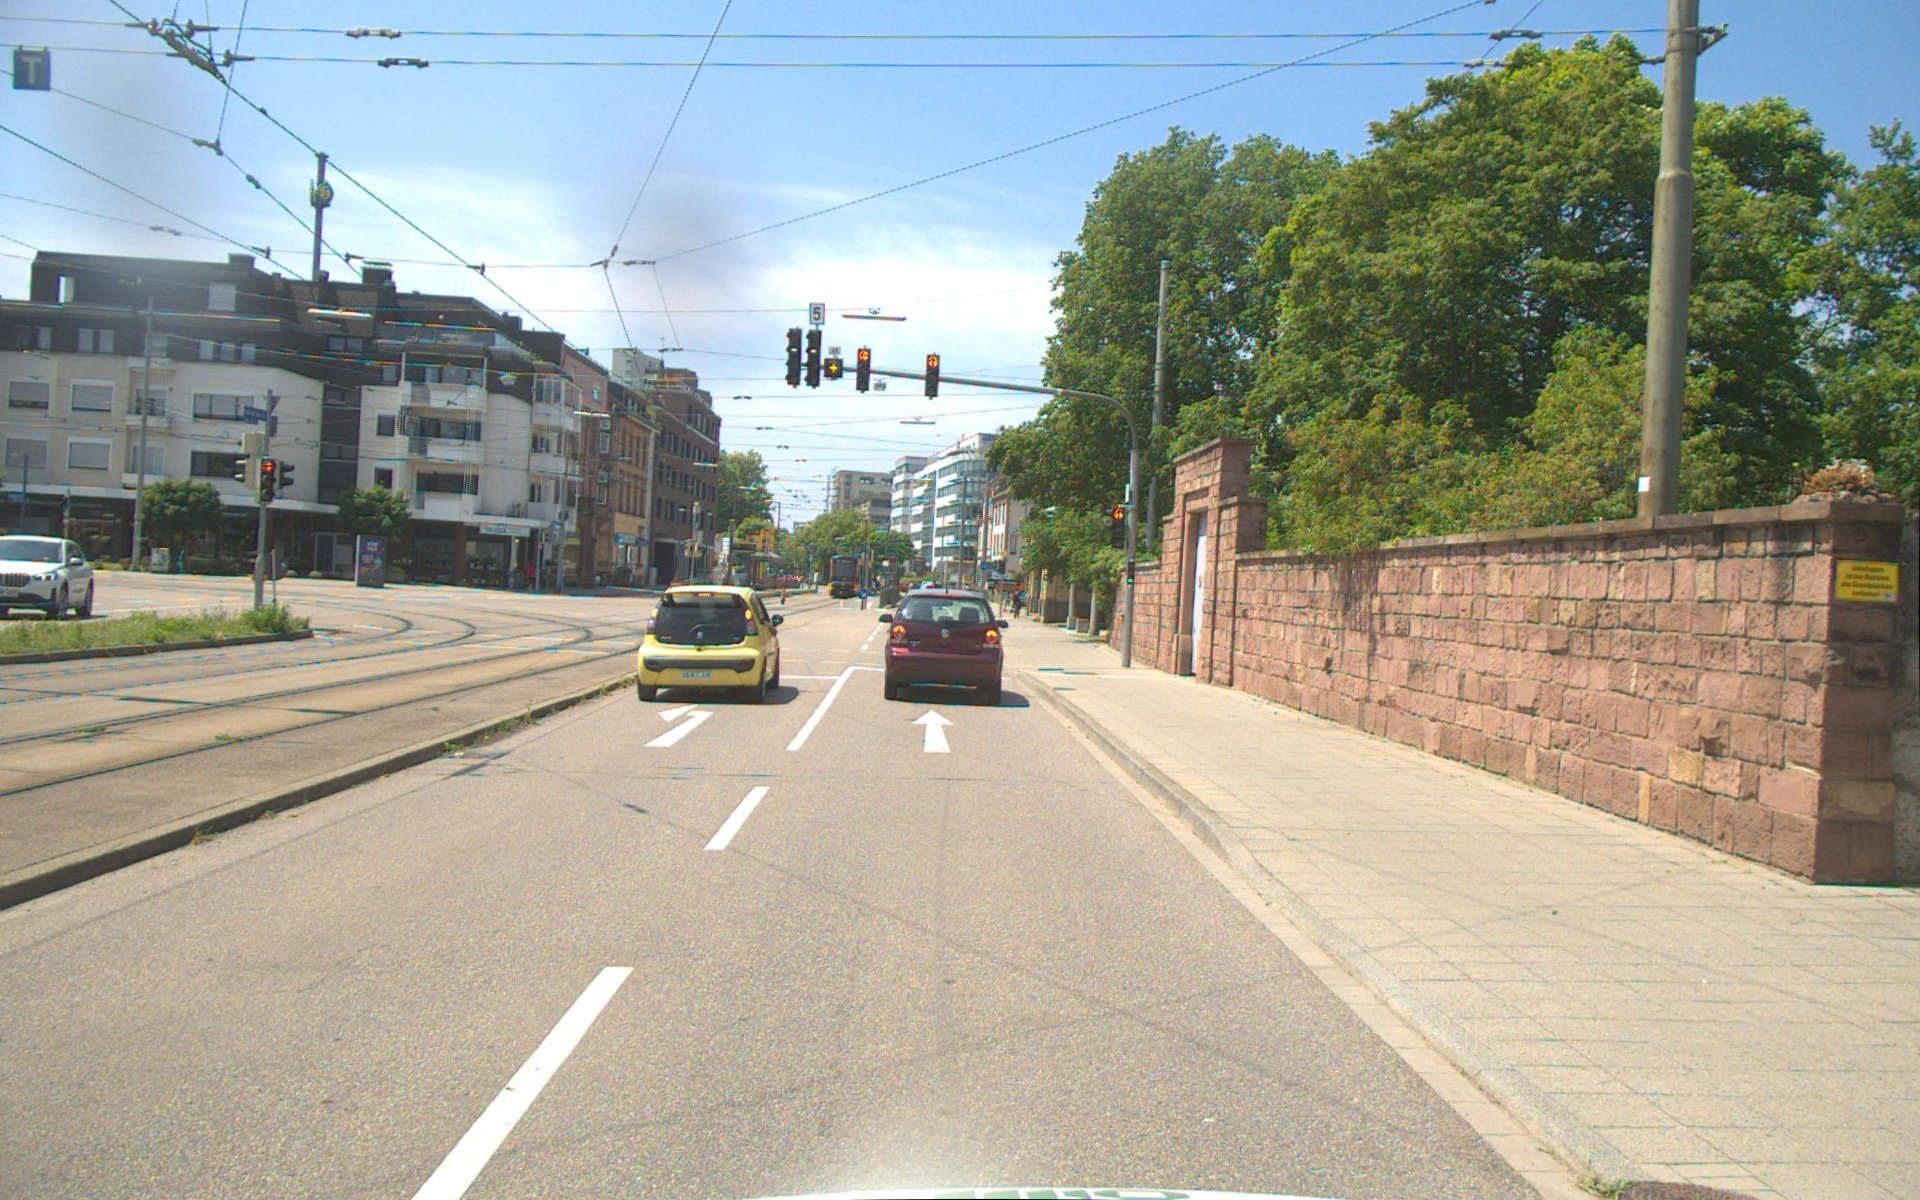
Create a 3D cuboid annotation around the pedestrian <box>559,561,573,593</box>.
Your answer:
[{"bbox_3d":[-22.241,-1.304,93.354,0.497,1.785,0.606,1,-1,45],"label":"pedestrian"}]

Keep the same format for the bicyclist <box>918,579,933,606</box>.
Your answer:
[{"bbox_3d":[-1.865,-0.405,88.890,0.751,1.430,0.506,1,-1,-5],"label":"bicyclist"}]

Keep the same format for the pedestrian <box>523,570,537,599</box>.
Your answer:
[{"bbox_3d":[-23.218,-0.850,89.361,0.474,1.568,0.538,1,-1,24],"label":"pedestrian"}]

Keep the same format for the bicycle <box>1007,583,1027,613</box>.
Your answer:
[{"bbox_3d":[3.009,-0.082,88.007,0.818,1.552,3.999,1,0,-1],"label":"bicycle"}]

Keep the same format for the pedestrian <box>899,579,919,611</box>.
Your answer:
[{"bbox_3d":[-2.799,-0.271,90.448,0.962,1.690,0.918,3,0,-5],"label":"pedestrian"}]

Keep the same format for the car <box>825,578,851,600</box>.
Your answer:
[{"bbox_3d":[-9.861,-0.859,133.789,1.899,1.670,3.999,1,0,-2],"label":"car"}]

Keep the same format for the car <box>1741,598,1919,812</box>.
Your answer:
[{"bbox_3d":[7.594,0.794,12.870,1.451,1.508,2.943,3,0,-3],"label":"car"}]

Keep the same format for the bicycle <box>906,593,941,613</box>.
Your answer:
[{"bbox_3d":[-1.949,0.166,88.863,1.829,1.025,0.578,1,-1,-6],"label":"bicycle"}]

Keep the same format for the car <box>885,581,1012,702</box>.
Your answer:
[{"bbox_3d":[-0.203,0.519,23.530,1.577,1.489,4.084,3,0,-2],"label":"car"}]

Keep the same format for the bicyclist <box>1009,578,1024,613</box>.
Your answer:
[{"bbox_3d":[2.989,-0.244,88.238,0.707,1.850,0.888,1,-1,-1],"label":"bicyclist"}]

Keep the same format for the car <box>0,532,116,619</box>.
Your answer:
[{"bbox_3d":[-18.784,-0.489,33.799,1.694,1.638,4.553,2,0,-14],"label":"car"}]

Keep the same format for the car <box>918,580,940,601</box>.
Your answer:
[{"bbox_3d":[-2.215,-0.699,118.171,1.541,1.440,3.719,0,1,-2],"label":"car"}]

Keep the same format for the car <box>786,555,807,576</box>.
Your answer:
[{"bbox_3d":[-16.892,-3.587,170.982,1.700,2.048,3.999,3,0,-1],"label":"car"}]

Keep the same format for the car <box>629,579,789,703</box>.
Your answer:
[{"bbox_3d":[-3.254,0.484,21.989,1.689,1.470,3.292,1,1,-2],"label":"car"}]
